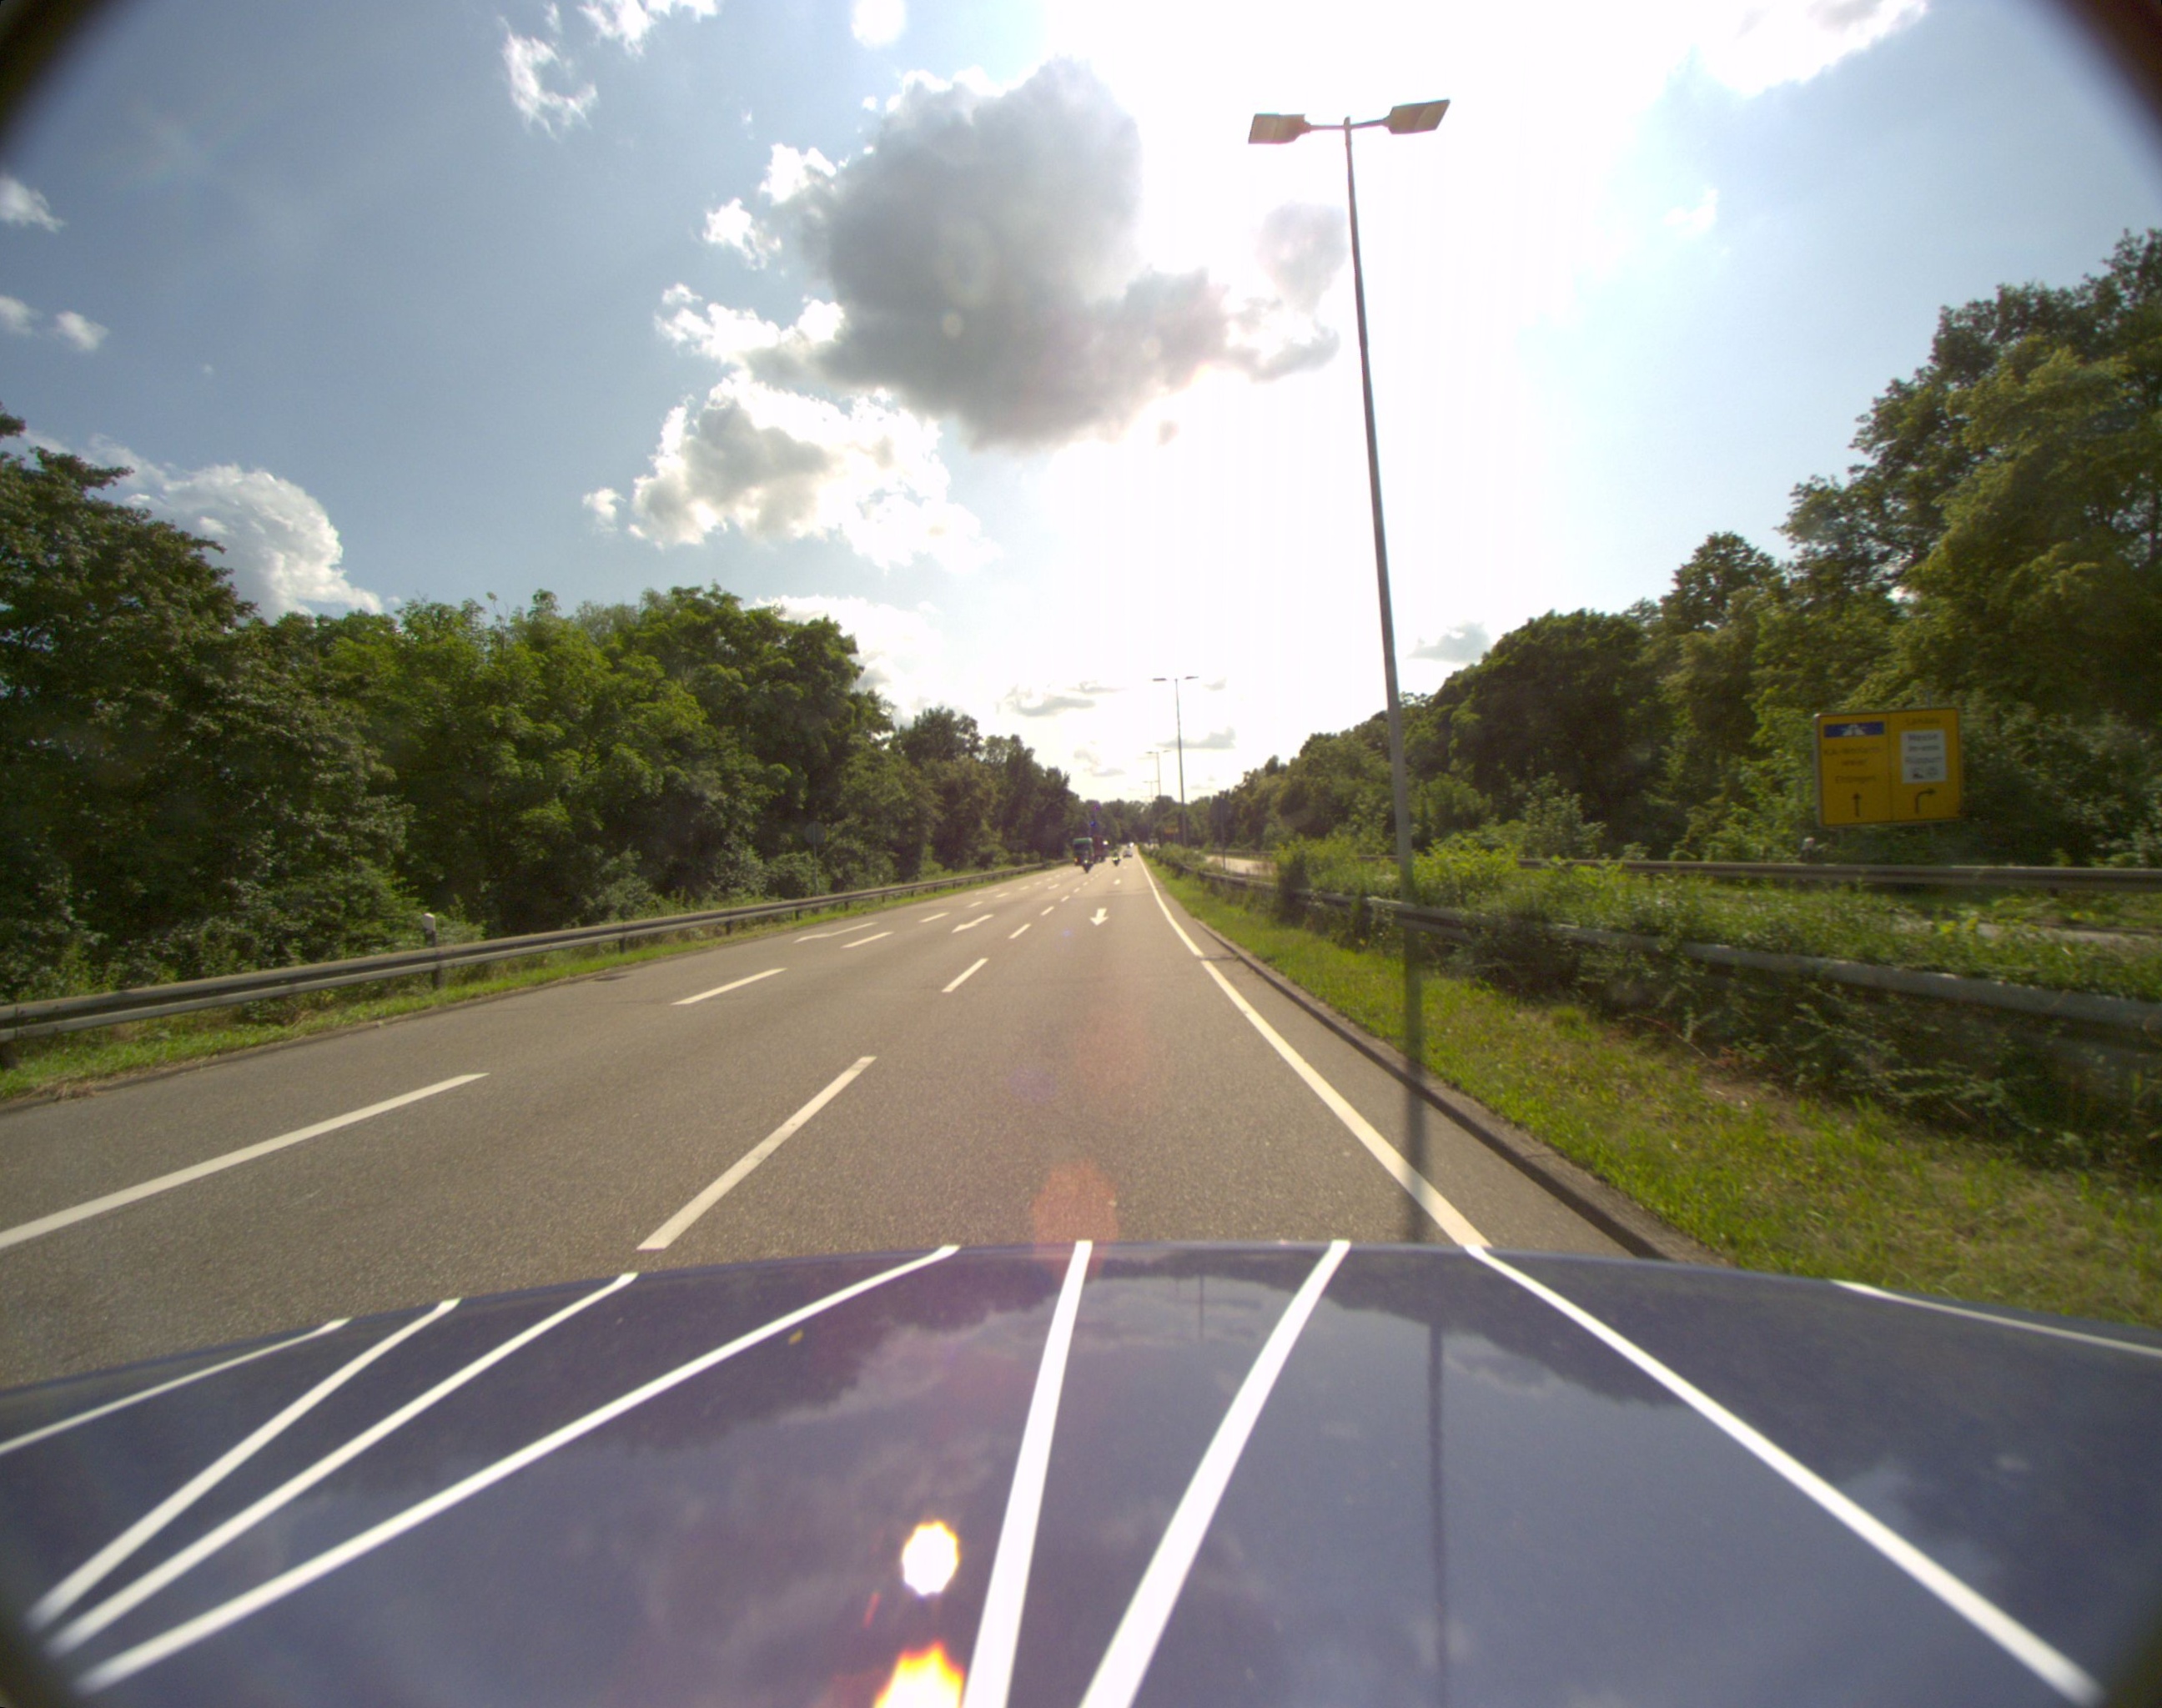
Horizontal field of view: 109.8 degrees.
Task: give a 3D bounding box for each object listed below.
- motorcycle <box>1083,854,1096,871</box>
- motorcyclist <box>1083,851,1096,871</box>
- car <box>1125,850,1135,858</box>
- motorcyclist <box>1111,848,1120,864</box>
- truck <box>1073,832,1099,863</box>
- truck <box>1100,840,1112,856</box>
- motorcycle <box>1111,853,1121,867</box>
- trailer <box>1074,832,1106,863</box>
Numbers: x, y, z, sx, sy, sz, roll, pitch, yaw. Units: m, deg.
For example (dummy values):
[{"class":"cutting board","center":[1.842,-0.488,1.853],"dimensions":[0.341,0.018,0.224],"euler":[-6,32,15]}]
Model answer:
[{"class":"motorcycle","center":[0.697,0.674,62.436],"dimensions":[0.939,1.375,2.370],"euler":[-2,0,3]},{"class":"motorcyclist","center":[0.680,0.550,62.399],"dimensions":[0.939,1.581,1.083],"euler":[-2,0,3]},{"class":"car","center":[9.263,-0.026,143.302],"dimensions":[1.735,1.468,4.048],"euler":[-3,0,5]},{"class":"motorcyclist","center":[3.662,0.225,80.044],"dimensions":[0.867,1.690,0.895],"euler":[-2,0,5]},{"class":"truck","center":[0.730,-0.908,101.829],"dimensions":[2.590,3.871,6.064],"euler":[-4,0,7]},{"class":"truck","center":[6.361,-1.515,195.586],"dimensions":[2.691,3.948,7.384],"euler":[-4,0,2]},{"class":"motorcycle","center":[3.687,0.608,80.135],"dimensions":[0.867,1.381,2.371],"euler":[-2,0,5]},{"class":"trailer","center":[1.396,-0.912,107.369],"dimensions":[2.590,3.871,14.509],"euler":[-4,0,7]}]
